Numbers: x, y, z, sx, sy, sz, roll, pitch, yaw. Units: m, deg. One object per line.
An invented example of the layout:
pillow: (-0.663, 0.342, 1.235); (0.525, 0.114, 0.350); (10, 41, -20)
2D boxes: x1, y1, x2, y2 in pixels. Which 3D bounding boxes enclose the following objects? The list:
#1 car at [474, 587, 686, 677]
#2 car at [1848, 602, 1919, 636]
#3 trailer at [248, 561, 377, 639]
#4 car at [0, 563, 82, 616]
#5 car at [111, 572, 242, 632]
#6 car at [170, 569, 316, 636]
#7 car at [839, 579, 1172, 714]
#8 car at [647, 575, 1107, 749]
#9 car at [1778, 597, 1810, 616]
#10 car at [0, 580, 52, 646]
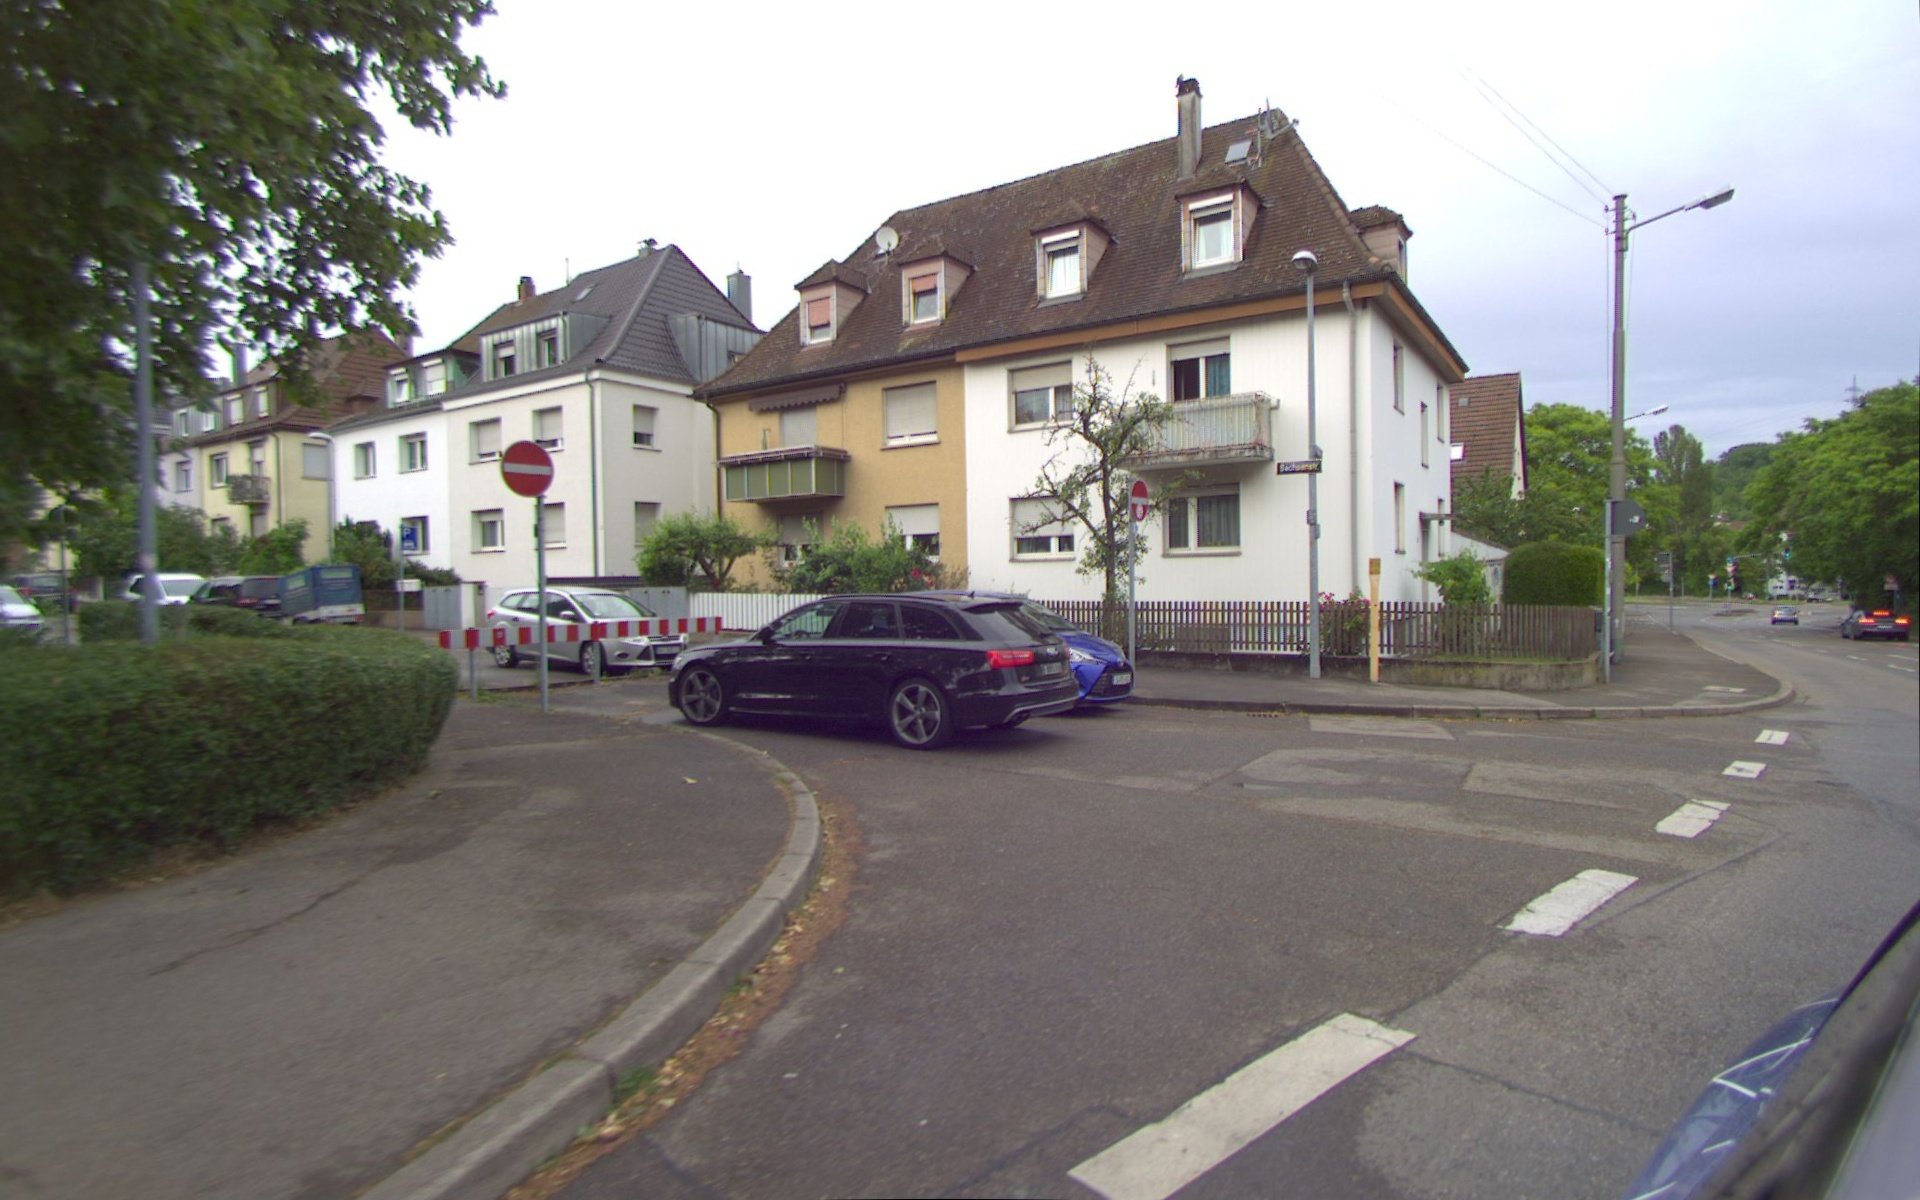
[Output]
car: (-6.905, 0.518, 18.311); (3.759, 1.472, 1.750); (1, 0, 34)
car: (43.252, 0.840, 47.213); (1.985, 1.461, 4.720); (2, 1, 32)
trailer: (-18.038, -0.022, 28.190); (3.462, 2.039, 1.654); (1, 0, 31)
car: (-37.715, -0.407, 41.037); (3.963, 2.039, 1.980); (0, 0, 29)
car: (-25.832, 0.030, 33.335); (4.544, 1.862, 1.977); (1, 0, 32)
car: (-21.478, 0.034, 30.271); (4.544, 1.862, 1.977); (1, 0, 32)
car: (0.527, 0.510, 13.467); (4.103, 1.499, 1.861); (1, 0, 37)
car: (-0.983, 0.521, 10.977); (4.776, 1.499, 1.866); (1, 0, 30)
car: (65.084, 0.487, 78.992); (1.664, 1.486, 3.731); (1, 1, 36)
car: (-24.561, 0.273, 25.382); (3.978, 1.576, 1.973); (1, 0, 38)
